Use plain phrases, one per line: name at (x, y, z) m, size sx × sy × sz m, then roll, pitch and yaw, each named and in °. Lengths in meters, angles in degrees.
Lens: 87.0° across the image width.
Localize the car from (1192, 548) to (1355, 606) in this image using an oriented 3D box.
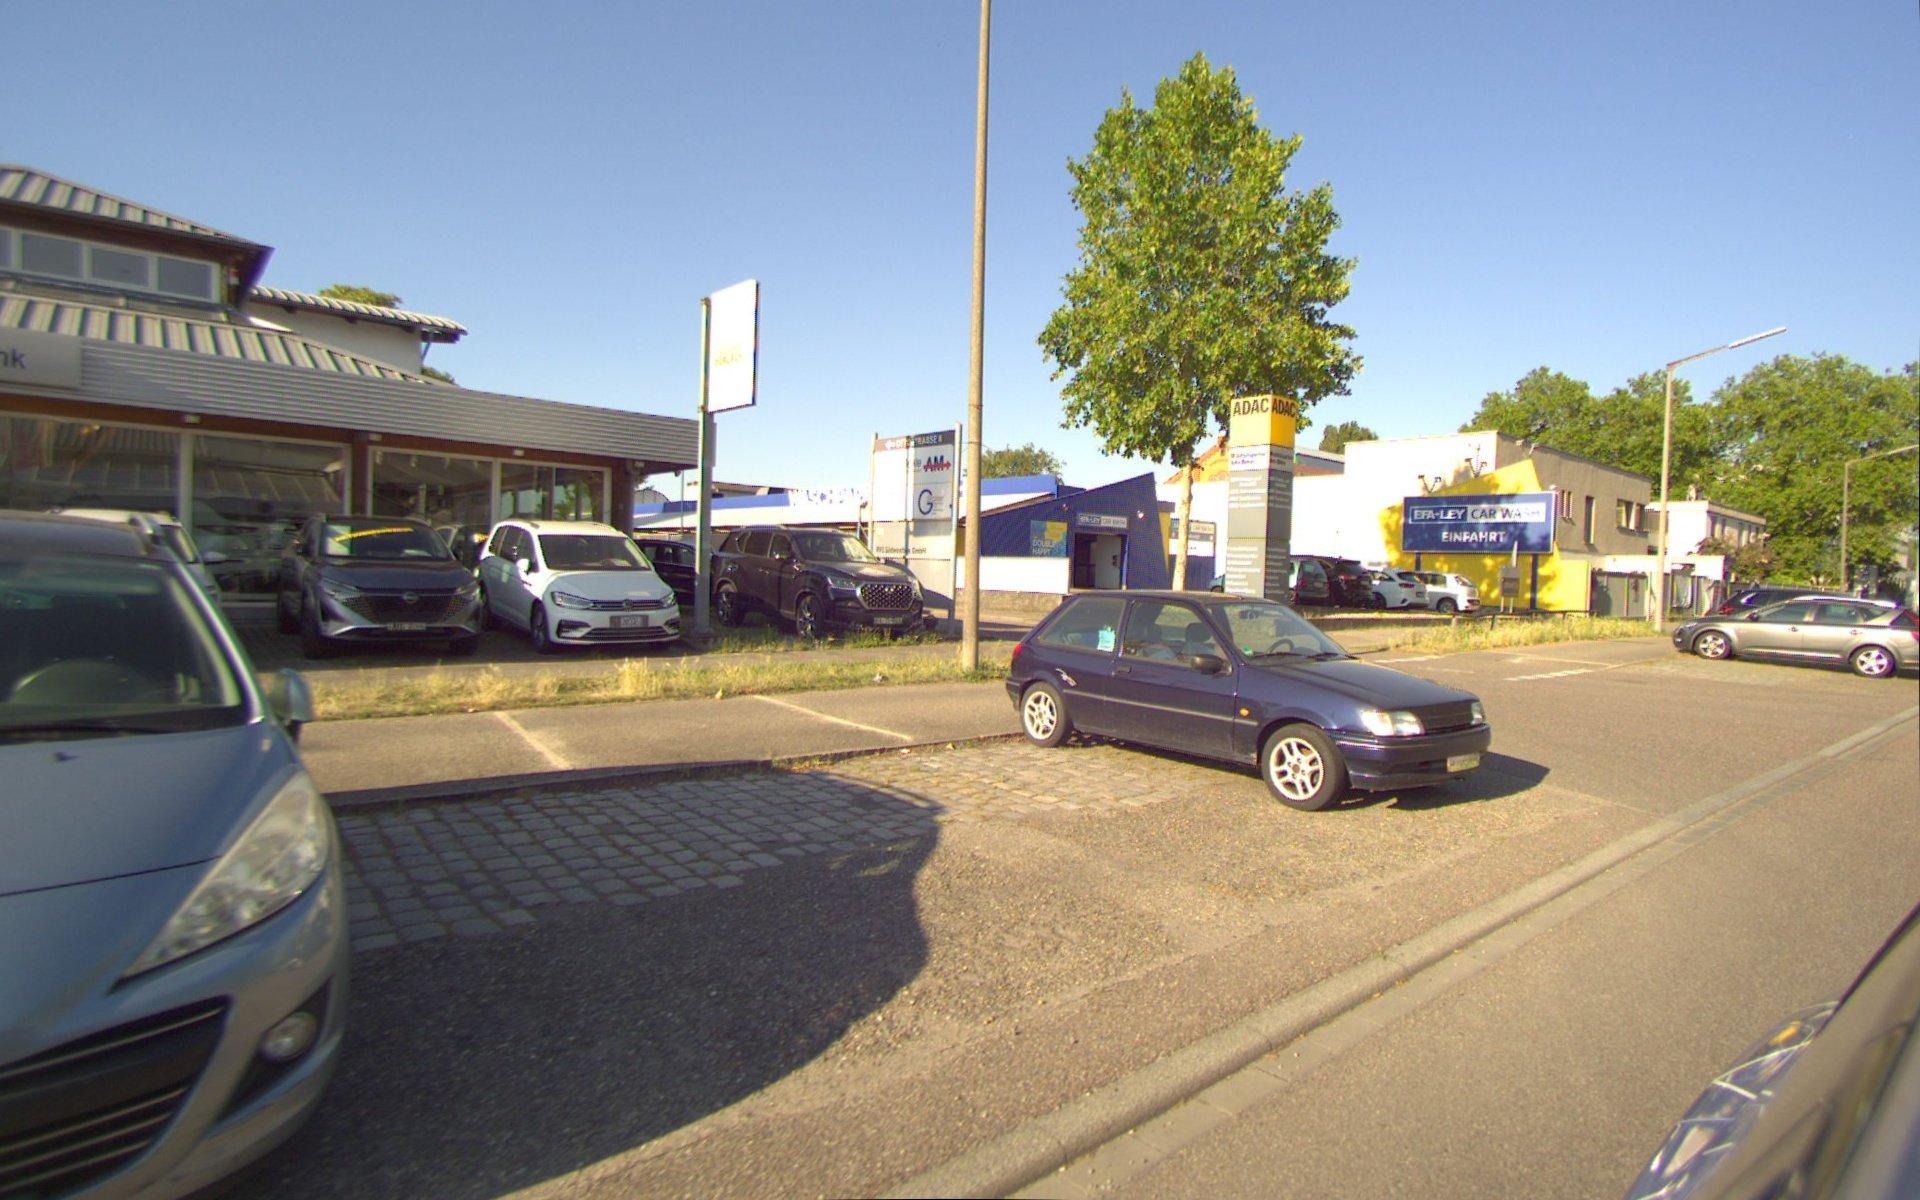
car at (8.836, -0.652, 28.709) m, size 1.967 × 1.538 × 3.990 m, roll 0°, pitch 1°, yaw -44°

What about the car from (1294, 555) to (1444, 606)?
car at (12.981, -0.627, 32.257) m, size 1.921 × 1.538 × 3.990 m, roll 0°, pitch 1°, yaw -44°

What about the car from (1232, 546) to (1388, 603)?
car at (10.462, -0.755, 30.406) m, size 1.967 × 1.615 × 3.990 m, roll 0°, pitch 1°, yaw -44°

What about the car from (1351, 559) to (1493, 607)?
car at (15.675, -0.584, 34.446) m, size 1.967 × 1.516 × 3.990 m, roll 0°, pitch 1°, yaw -44°

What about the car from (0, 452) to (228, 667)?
car at (-9.261, -0.460, 11.029) m, size 1.756 × 1.921 × 3.911 m, roll -2°, pitch 4°, yaw -40°

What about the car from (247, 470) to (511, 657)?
car at (-7.354, -0.544, 12.633) m, size 2.163 × 1.920 × 3.810 m, roll 1°, pitch 5°, yaw -40°

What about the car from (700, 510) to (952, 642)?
car at (-2.409, -0.407, 17.219) m, size 2.163 × 1.922 × 4.504 m, roll 0°, pitch 1°, yaw -40°

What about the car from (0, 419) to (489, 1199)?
car at (-3.075, 0.372, 3.027) m, size 1.836 × 1.607 × 3.992 m, roll 0°, pitch 4°, yaw -44°

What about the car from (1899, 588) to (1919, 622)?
car at (47.673, 0.433, 47.771) m, size 1.966 × 1.544 × 4.635 m, roll 0°, pitch 6°, yaw -42°

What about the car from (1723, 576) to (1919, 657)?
car at (22.204, 0.385, 25.240) m, size 1.963 × 1.598 × 4.617 m, roll 0°, pitch 5°, yaw -38°

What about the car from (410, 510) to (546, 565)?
car at (-16.635, -2.119, 35.127) m, size 3.916 × 1.760 × 2.004 m, roll 0°, pitch 1°, yaw -14°

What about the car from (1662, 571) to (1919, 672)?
car at (18.129, 0.378, 21.700) m, size 1.965 × 1.632 × 4.613 m, roll 0°, pitch 6°, yaw -40°

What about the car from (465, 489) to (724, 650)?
car at (-5.349, -0.403, 14.532) m, size 2.163 × 1.922 × 3.941 m, roll 4°, pitch -1°, yaw -41°

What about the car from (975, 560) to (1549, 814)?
car at (2.058, 0.438, 7.909) m, size 1.751 × 1.312 × 4.000 m, roll 0°, pitch 4°, yaw -37°

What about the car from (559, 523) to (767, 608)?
car at (-6.457, -0.754, 22.239) m, size 3.934 × 1.760 × 1.995 m, roll 1°, pitch 1°, yaw 9°
